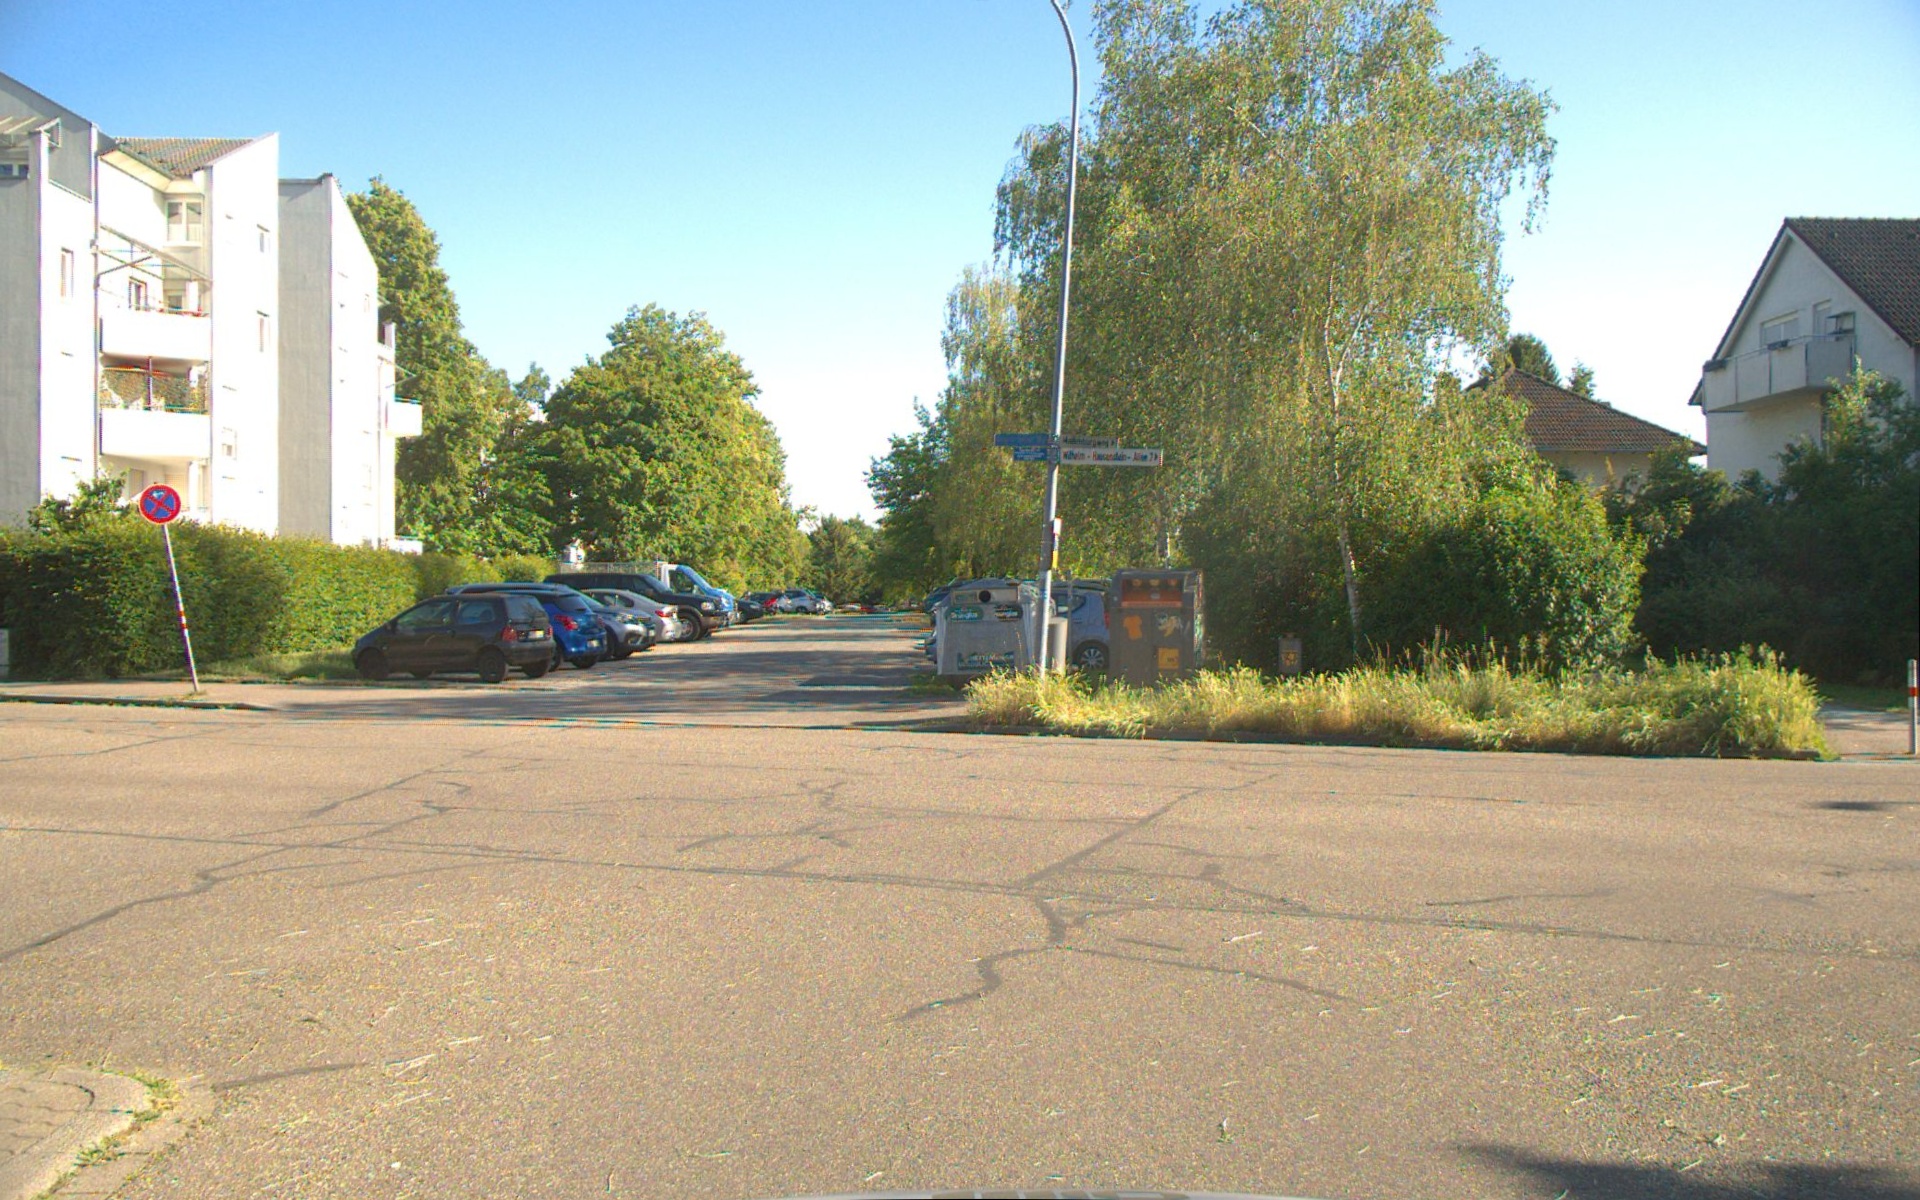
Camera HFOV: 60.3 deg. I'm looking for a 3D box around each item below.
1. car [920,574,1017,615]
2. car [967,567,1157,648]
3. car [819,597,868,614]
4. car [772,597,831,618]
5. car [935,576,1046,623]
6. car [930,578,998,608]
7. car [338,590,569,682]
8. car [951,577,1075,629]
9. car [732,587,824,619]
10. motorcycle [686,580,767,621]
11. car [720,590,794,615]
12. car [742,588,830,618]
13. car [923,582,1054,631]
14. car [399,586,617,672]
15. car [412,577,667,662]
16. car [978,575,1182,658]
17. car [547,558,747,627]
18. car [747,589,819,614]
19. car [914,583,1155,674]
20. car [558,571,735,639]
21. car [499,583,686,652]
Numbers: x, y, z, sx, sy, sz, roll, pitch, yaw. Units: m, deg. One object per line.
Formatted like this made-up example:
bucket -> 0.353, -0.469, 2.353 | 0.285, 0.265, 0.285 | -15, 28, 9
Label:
car -> 0.362, -0.214, 67.609 | 3.904, 1.613, 1.798 | 1, 0, 2
car -> 2.275, 0.154, 37.404 | 4.026, 1.736, 1.788 | 0, 1, -8
car -> -8.578, 0.407, 122.056 | 3.571, 1.234, 1.846 | 0, 0, -2
car -> -10.811, 0.503, 113.000 | 3.860, 1.357, 1.846 | 0, 0, -2
car -> 1.108, -0.006, 59.035 | 3.904, 1.613, 1.798 | 1, 0, 2
car -> 0.255, -0.403, 96.167 | 3.904, 1.738, 1.798 | 1, 0, 2
car -> -8.754, 0.593, 28.664 | 3.447, 1.492, 1.705 | 0, 1, 16
car -> 1.714, 0.112, 53.403 | 3.904, 1.613, 1.798 | 1, 0, 2
car -> -7.931, 0.130, 72.240 | 3.860, 1.357, 1.846 | 0, 0, -2
motorcycle -> -9.384, 0.001, 66.521 | 3.125, 1.624, 0.923 | 0, 0, 0
car -> -10.985, 0.123, 89.682 | 3.860, 1.357, 1.846 | 0, 0, -2
car -> -7.912, 0.126, 75.479 | 3.860, 1.357, 1.846 | 0, 0, -2
car -> 0.881, 0.190, 50.196 | 3.904, 1.425, 1.798 | 1, 0, 2
car -> -8.505, 0.534, 31.221 | 3.601, 1.522, 1.653 | -1, 0, 12
car -> -8.883, 0.394, 35.163 | 4.887, 1.683, 1.785 | -1, 0, 4
car -> 2.450, 0.328, 34.344 | 3.975, 1.631, 1.789 | 0, 1, -7
car -> -10.124, -0.246, 53.961 | 6.131, 2.184, 2.409 | 0, 0, -3
car -> -9.913, 0.059, 92.942 | 3.860, 1.357, 1.846 | 0, 0, -2
car -> 1.328, 0.471, 28.840 | 3.966, 1.464, 1.636 | 1, 0, 12
car -> -8.531, 0.139, 45.220 | 4.427, 1.802, 1.848 | 0, 0, 4
car -> -8.650, 0.403, 39.132 | 4.061, 1.480, 1.618 | -1, 0, -4
